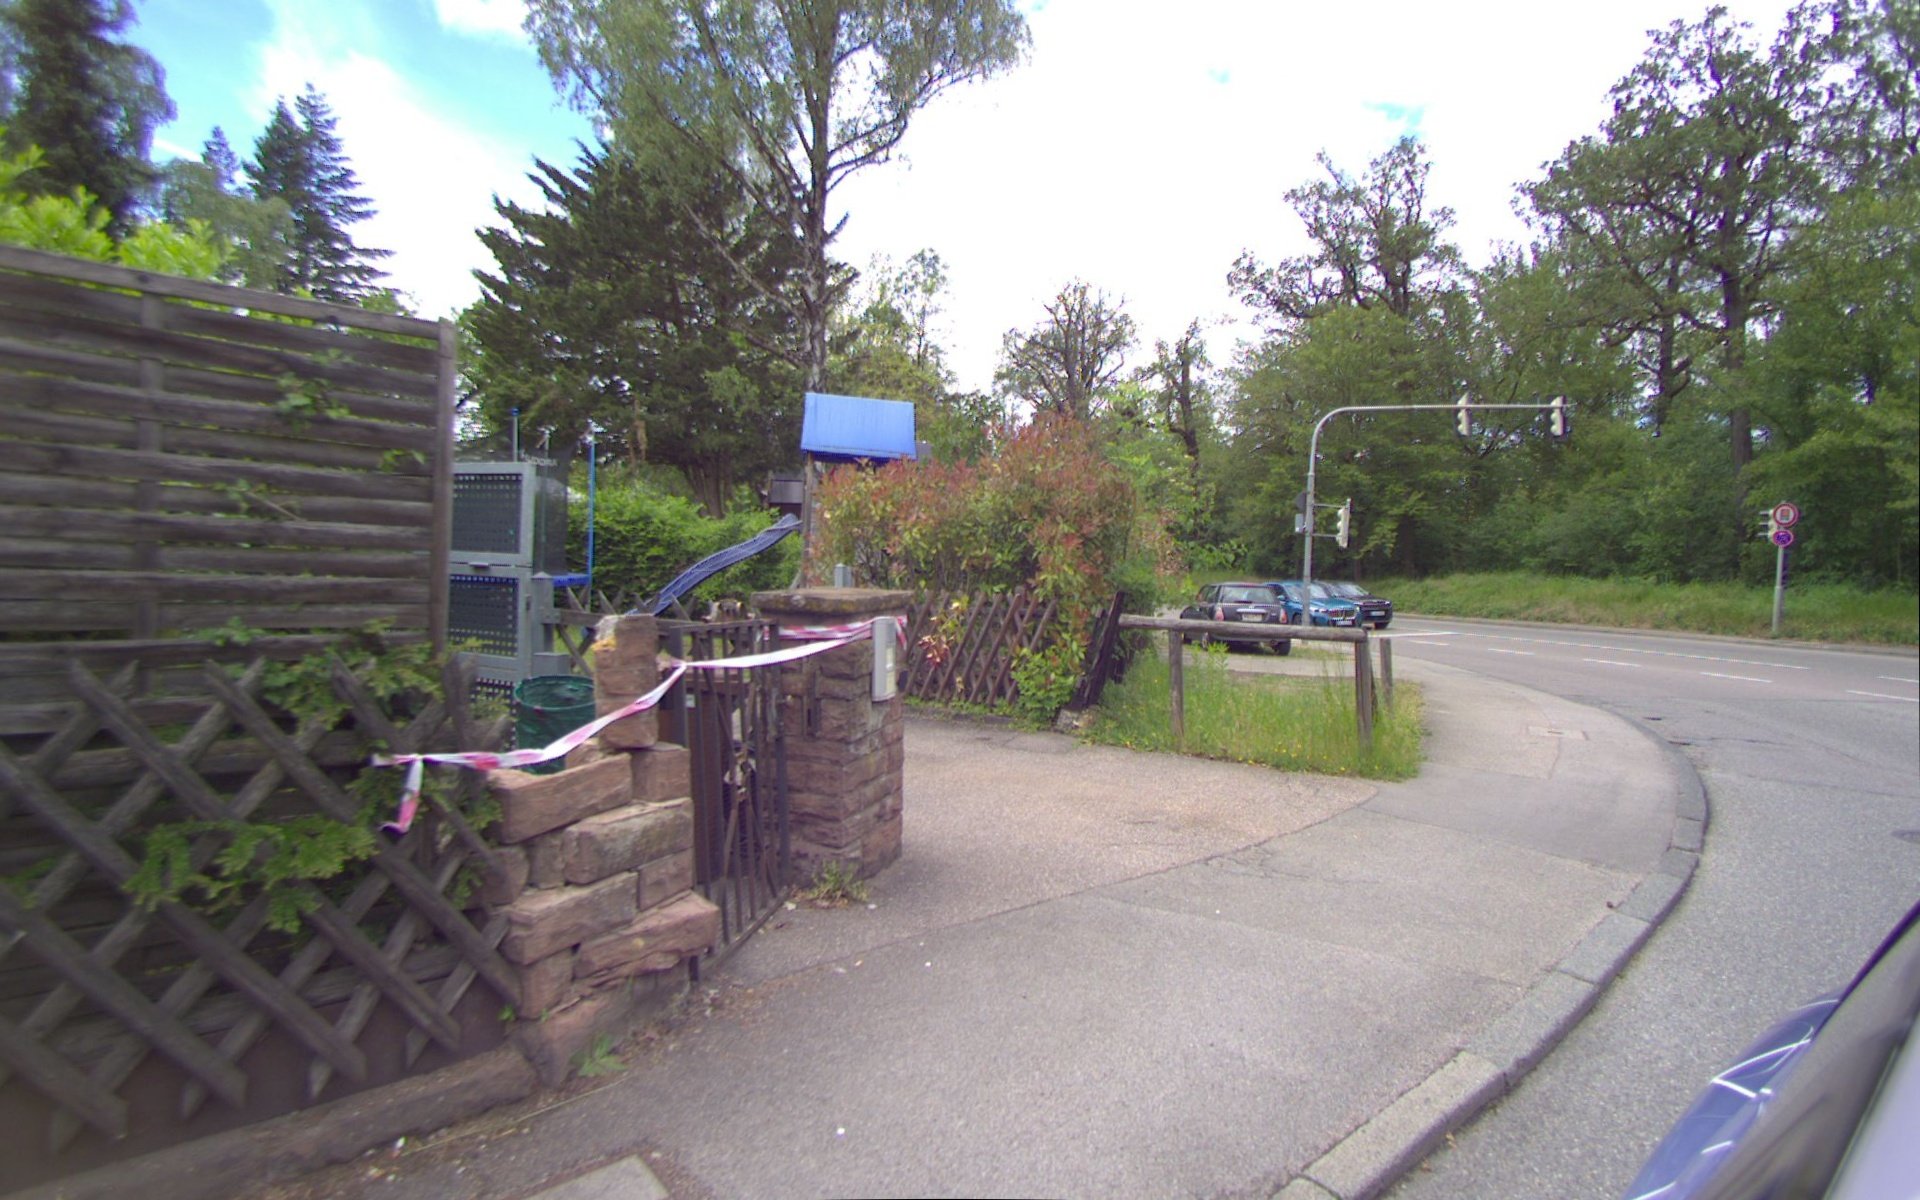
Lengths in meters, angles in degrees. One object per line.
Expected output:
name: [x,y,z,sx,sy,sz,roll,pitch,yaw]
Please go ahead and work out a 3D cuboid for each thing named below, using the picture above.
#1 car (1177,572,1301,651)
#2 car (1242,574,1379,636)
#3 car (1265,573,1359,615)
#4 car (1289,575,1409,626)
car: [5.709,0.170,21.128,1.626,1.408,3.604,2,2,2]
car: [10.425,0.087,30.392,1.876,1.596,4.010,-2,3,-17]
car: [14.177,-0.282,40.982,1.785,1.529,3.817,-1,2,-14]
car: [12.766,-0.036,33.485,1.702,1.526,4.009,-2,2,-14]
